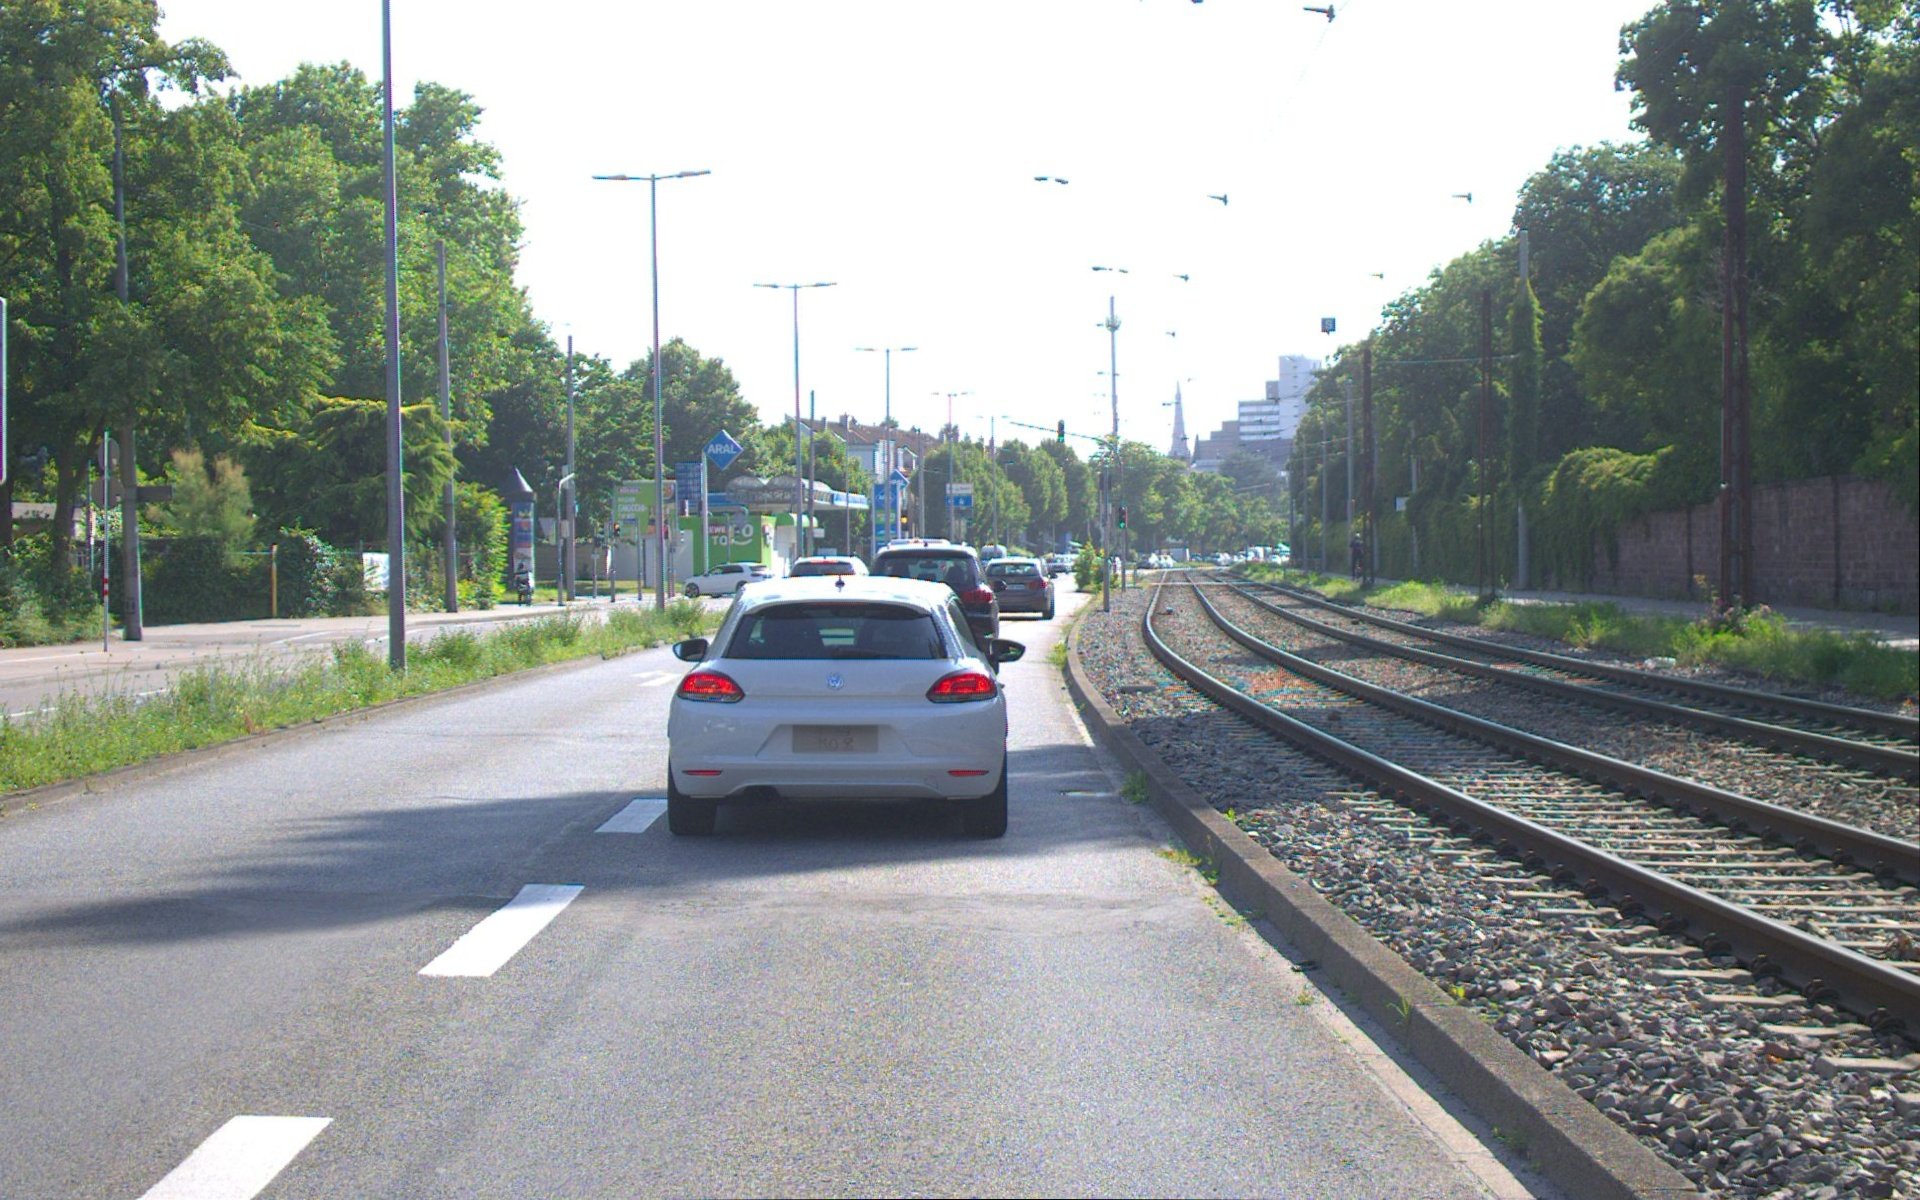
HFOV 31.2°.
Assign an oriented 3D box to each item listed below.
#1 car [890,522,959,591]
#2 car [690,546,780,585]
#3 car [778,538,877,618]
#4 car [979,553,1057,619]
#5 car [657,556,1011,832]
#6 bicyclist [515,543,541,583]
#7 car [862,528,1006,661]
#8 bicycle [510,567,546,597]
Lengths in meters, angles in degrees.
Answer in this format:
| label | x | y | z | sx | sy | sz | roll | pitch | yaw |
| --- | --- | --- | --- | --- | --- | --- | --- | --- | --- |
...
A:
| label | x | y | z | sx | sy | sz | roll | pitch | yaw |
| --- | --- | --- | --- | --- | --- | --- | --- | --- | --- |
| car | -1.025 | -1.291 | 101.480 | 1.818 | 1.956 | 4.402 | -1 | 1 | 2 |
| car | -9.576 | -1.474 | 146.118 | 3.595 | 1.583 | 1.696 | 2 | 1 | 38 |
| car | -2.566 | -0.457 | 67.414 | 1.760 | 1.480 | 4.645 | 1 | 1 | 0 |
| car | 1.351 | -0.352 | 81.103 | 1.749 | 1.480 | 3.601 | 1 | 1 | 0 |
| car | -0.645 | 0.456 | 19.269 | 1.781 | 1.351 | 3.601 | 1 | 1 | 0 |
| bicyclist | -15.703 | -1.335 | 124.948 | 0.662 | 1.447 | 1.050 | -1 | 1 | 7 |
| car | -0.319 | -0.101 | 43.410 | 1.724 | 1.587 | 3.601 | 1 | 1 | 0 |
| bicycle | -15.689 | -0.652 | 124.890 | 0.662 | 1.046 | 2.580 | -1 | 1 | 7 |
